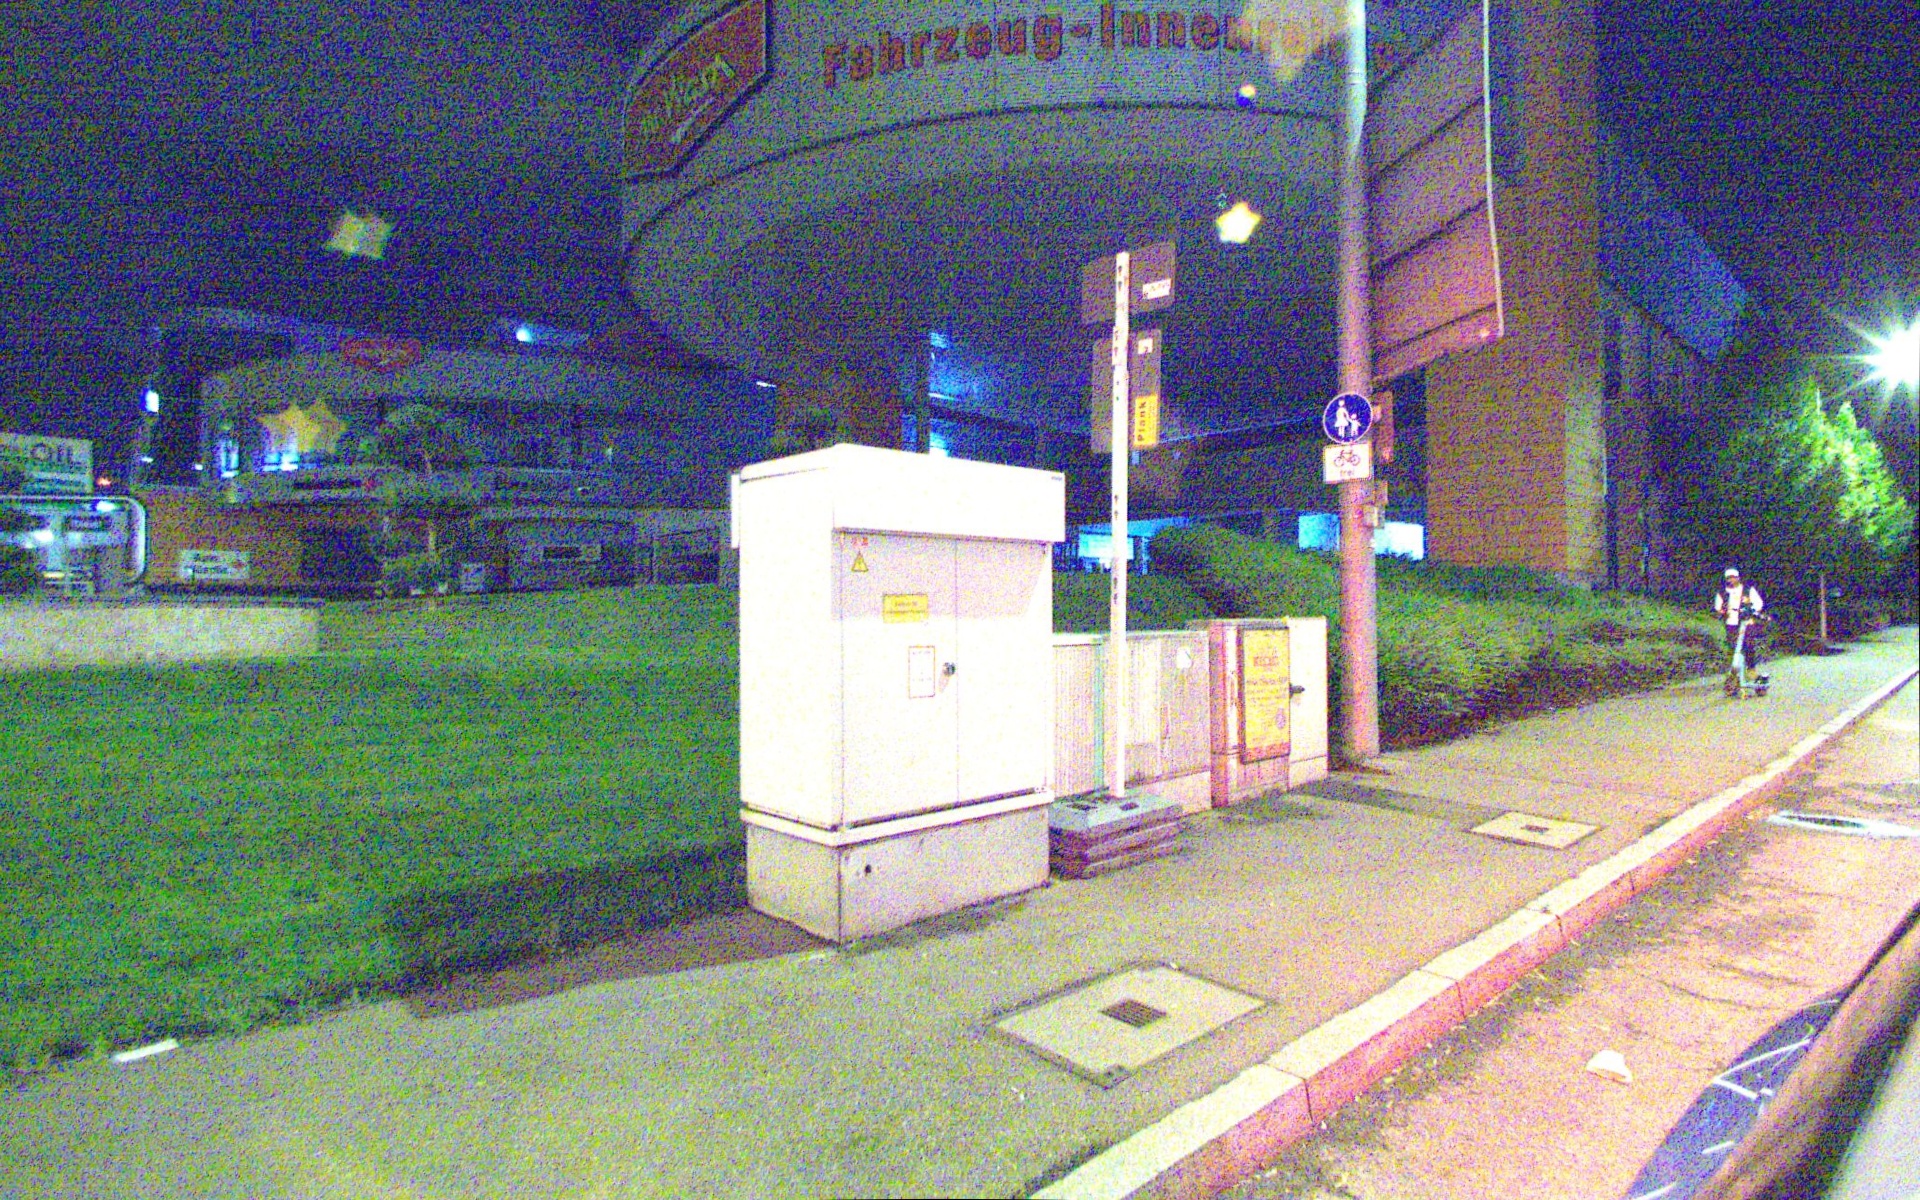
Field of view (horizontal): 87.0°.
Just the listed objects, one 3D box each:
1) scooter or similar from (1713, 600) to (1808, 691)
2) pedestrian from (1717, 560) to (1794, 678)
[{"bbox_3d":[11.044,0.616,13.965,1.111,1.217,0.470,1,-1,-17],"label":"scooter or similar"},{"bbox_3d":[13.156,0.295,16.741,1.016,1.888,0.819,0,0,-41],"label":"pedestrian"}]
